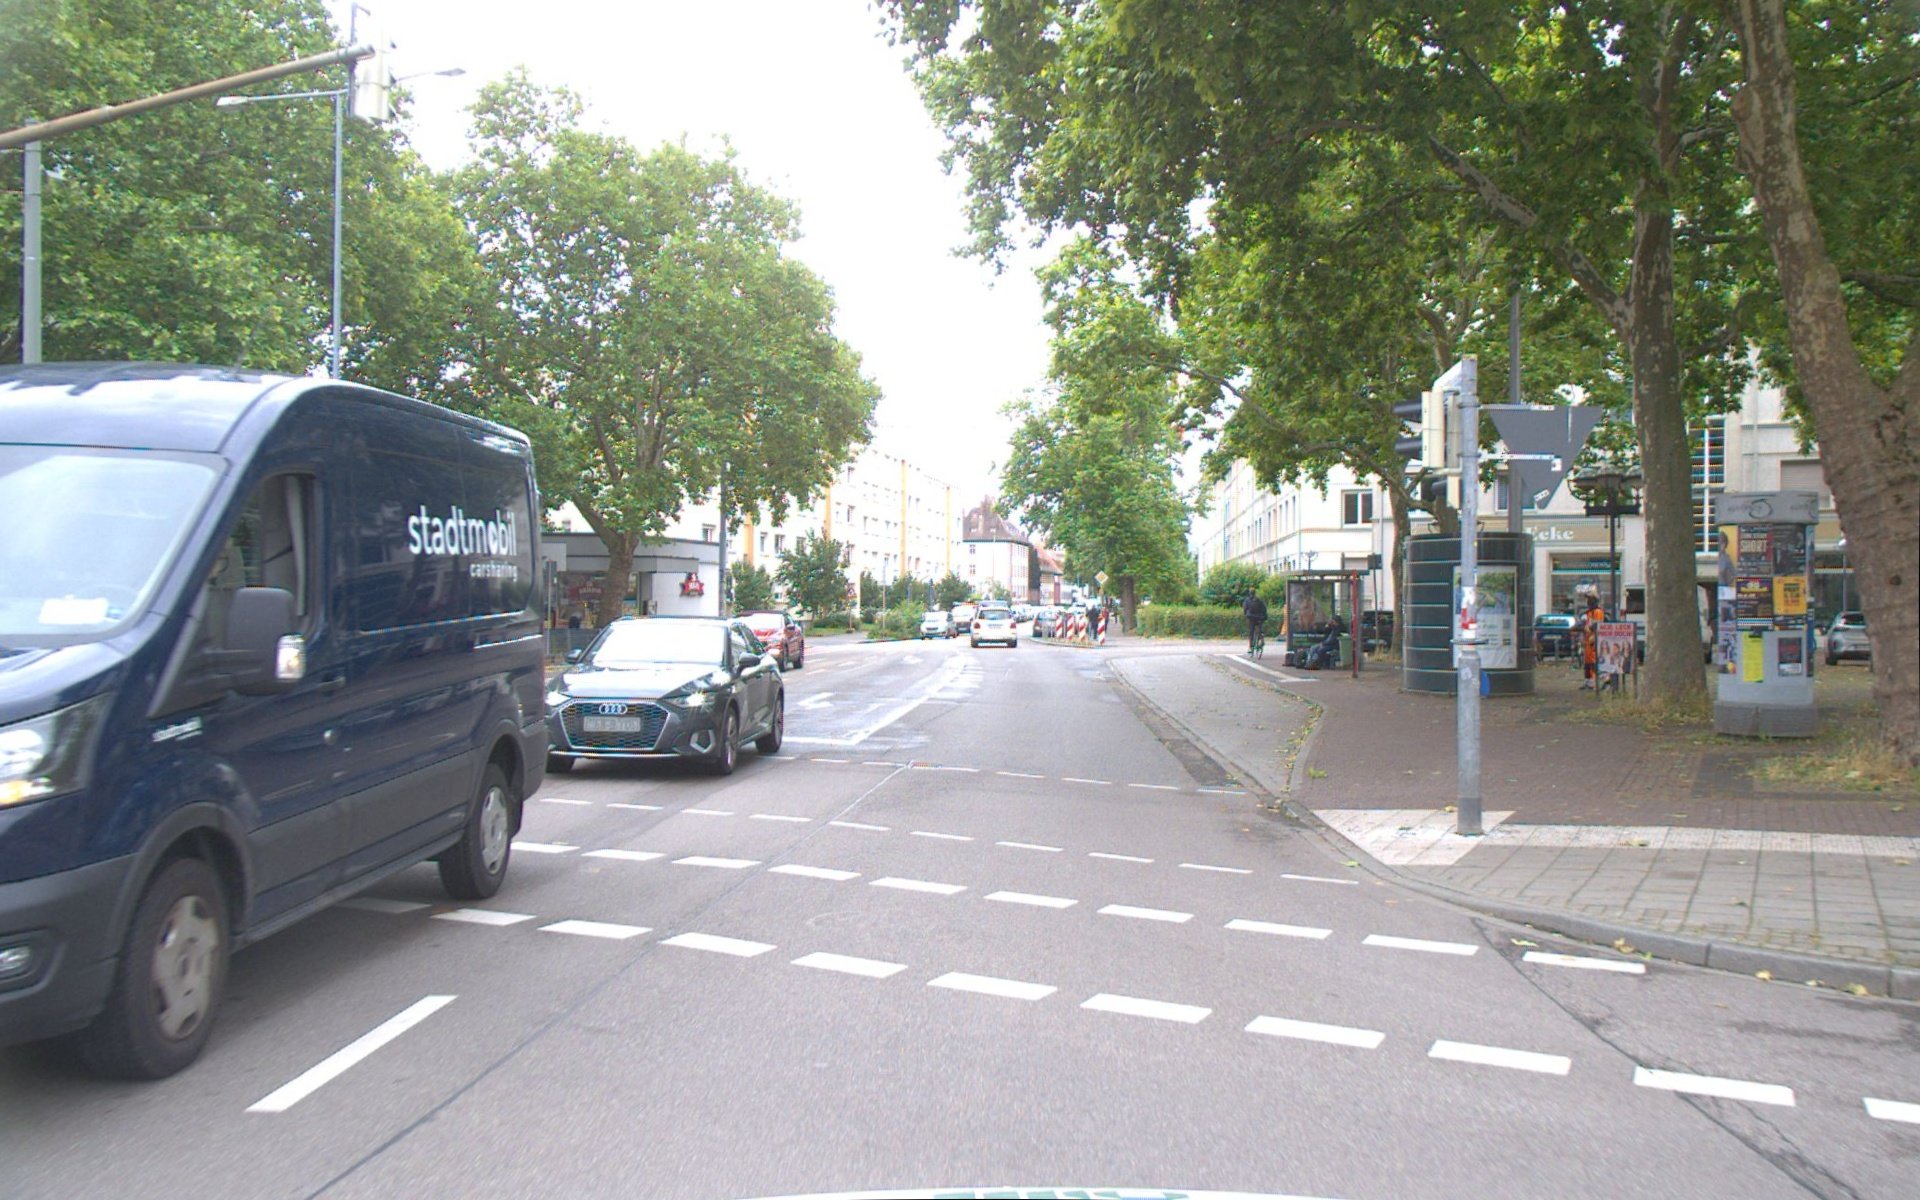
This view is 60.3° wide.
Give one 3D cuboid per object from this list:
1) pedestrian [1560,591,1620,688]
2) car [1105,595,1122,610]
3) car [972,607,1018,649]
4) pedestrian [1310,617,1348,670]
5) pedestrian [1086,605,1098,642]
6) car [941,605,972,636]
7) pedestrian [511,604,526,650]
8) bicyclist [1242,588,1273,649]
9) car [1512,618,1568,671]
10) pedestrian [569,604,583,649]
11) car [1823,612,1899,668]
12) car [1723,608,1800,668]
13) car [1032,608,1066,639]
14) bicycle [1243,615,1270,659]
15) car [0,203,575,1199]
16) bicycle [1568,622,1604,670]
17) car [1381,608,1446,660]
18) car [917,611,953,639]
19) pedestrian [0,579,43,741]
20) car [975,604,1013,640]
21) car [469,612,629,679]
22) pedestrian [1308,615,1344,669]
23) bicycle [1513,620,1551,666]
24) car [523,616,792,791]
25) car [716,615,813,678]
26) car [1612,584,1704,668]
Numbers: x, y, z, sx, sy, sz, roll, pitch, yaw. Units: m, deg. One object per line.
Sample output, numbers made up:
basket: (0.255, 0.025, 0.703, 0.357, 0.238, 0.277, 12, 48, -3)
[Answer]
pedestrian: (11.642, 0.720, 30.586, 0.767, 1.774, 0.925, 0, 0, 1)
car: (20.387, 0.331, 219.752, 1.952, 2.049, 4.000, 0, -1, 1)
car: (1.465, 1.115, 67.790, 1.777, 1.620, 4.001, 0, 0, 3)
pedestrian: (9.419, 1.103, 42.222, 0.835, 1.337, 0.763, 0, 0, 3)
pedestrian: (6.228, 1.104, 77.977, 0.539, 1.714, 0.570, 0, -1, 1)
car: (-0.218, 1.265, 104.139, 1.730, 1.945, 4.002, 0, 0, 3)
pedestrian: (-16.681, 1.023, 62.479, 0.501, 1.710, 0.515, 0, -1, -13)
bicyclist: (8.793, 0.545, 48.899, 0.745, 1.789, 0.820, 0, 0, -1)
car: (16.991, 1.269, 48.365, 1.483, 1.453, 4.000, 0, 0, 20)
pedestrian: (-14.548, 1.010, 62.691, 0.507, 1.710, 0.509, 0, -1, -15)
car: (24.773, 1.067, 45.561, 1.762, 1.466, 3.821, 0, 0, 28)
car: (21.988, 1.002, 45.309, 1.762, 1.570, 3.821, 0, 0, 28)
car: (4.859, 1.254, 90.351, 1.777, 1.620, 4.001, 0, 0, 3)
bicycle: (8.722, 1.085, 48.731, 0.409, 1.264, 1.926, 0, 0, -1)
car: (-3.353, 0.270, 6.880, 2.090, 2.494, 5.580, 0, 0, 1)
bicycle: (16.404, 1.184, 43.309, 0.610, 1.188, 2.330, 0, 0, 28)
car: (13.279, 0.967, 48.289, 1.483, 1.453, 4.000, 0, 0, 20)
car: (-1.386, 1.382, 92.704, 1.730, 1.512, 4.002, 0, 0, 3)
pedestrian: (-10.938, 0.672, 18.857, 0.685, 1.816, 0.506, 0, 0, 10)
car: (1.816, 1.151, 88.492, 1.952, 1.880, 4.001, 0, 0, 1)
car: (-11.231, 1.222, 45.237, 3.938, 1.736, 1.983, 1, -1, -26)
pedestrian: (9.533, 1.081, 43.135, 0.800, 1.396, 0.763, 0, 0, 3)
bicycle: (15.175, 1.125, 43.834, 0.610, 1.188, 2.330, 0, 0, 28)
car: (-2.805, 0.908, 16.292, 1.771, 1.452, 4.318, 0, 0, 1)
car: (-5.007, 1.156, 42.779, 1.814, 1.478, 4.169, 0, 0, 3)
car: (19.606, 0.689, 46.374, 2.132, 2.239, 3.996, 0, 0, 27)
